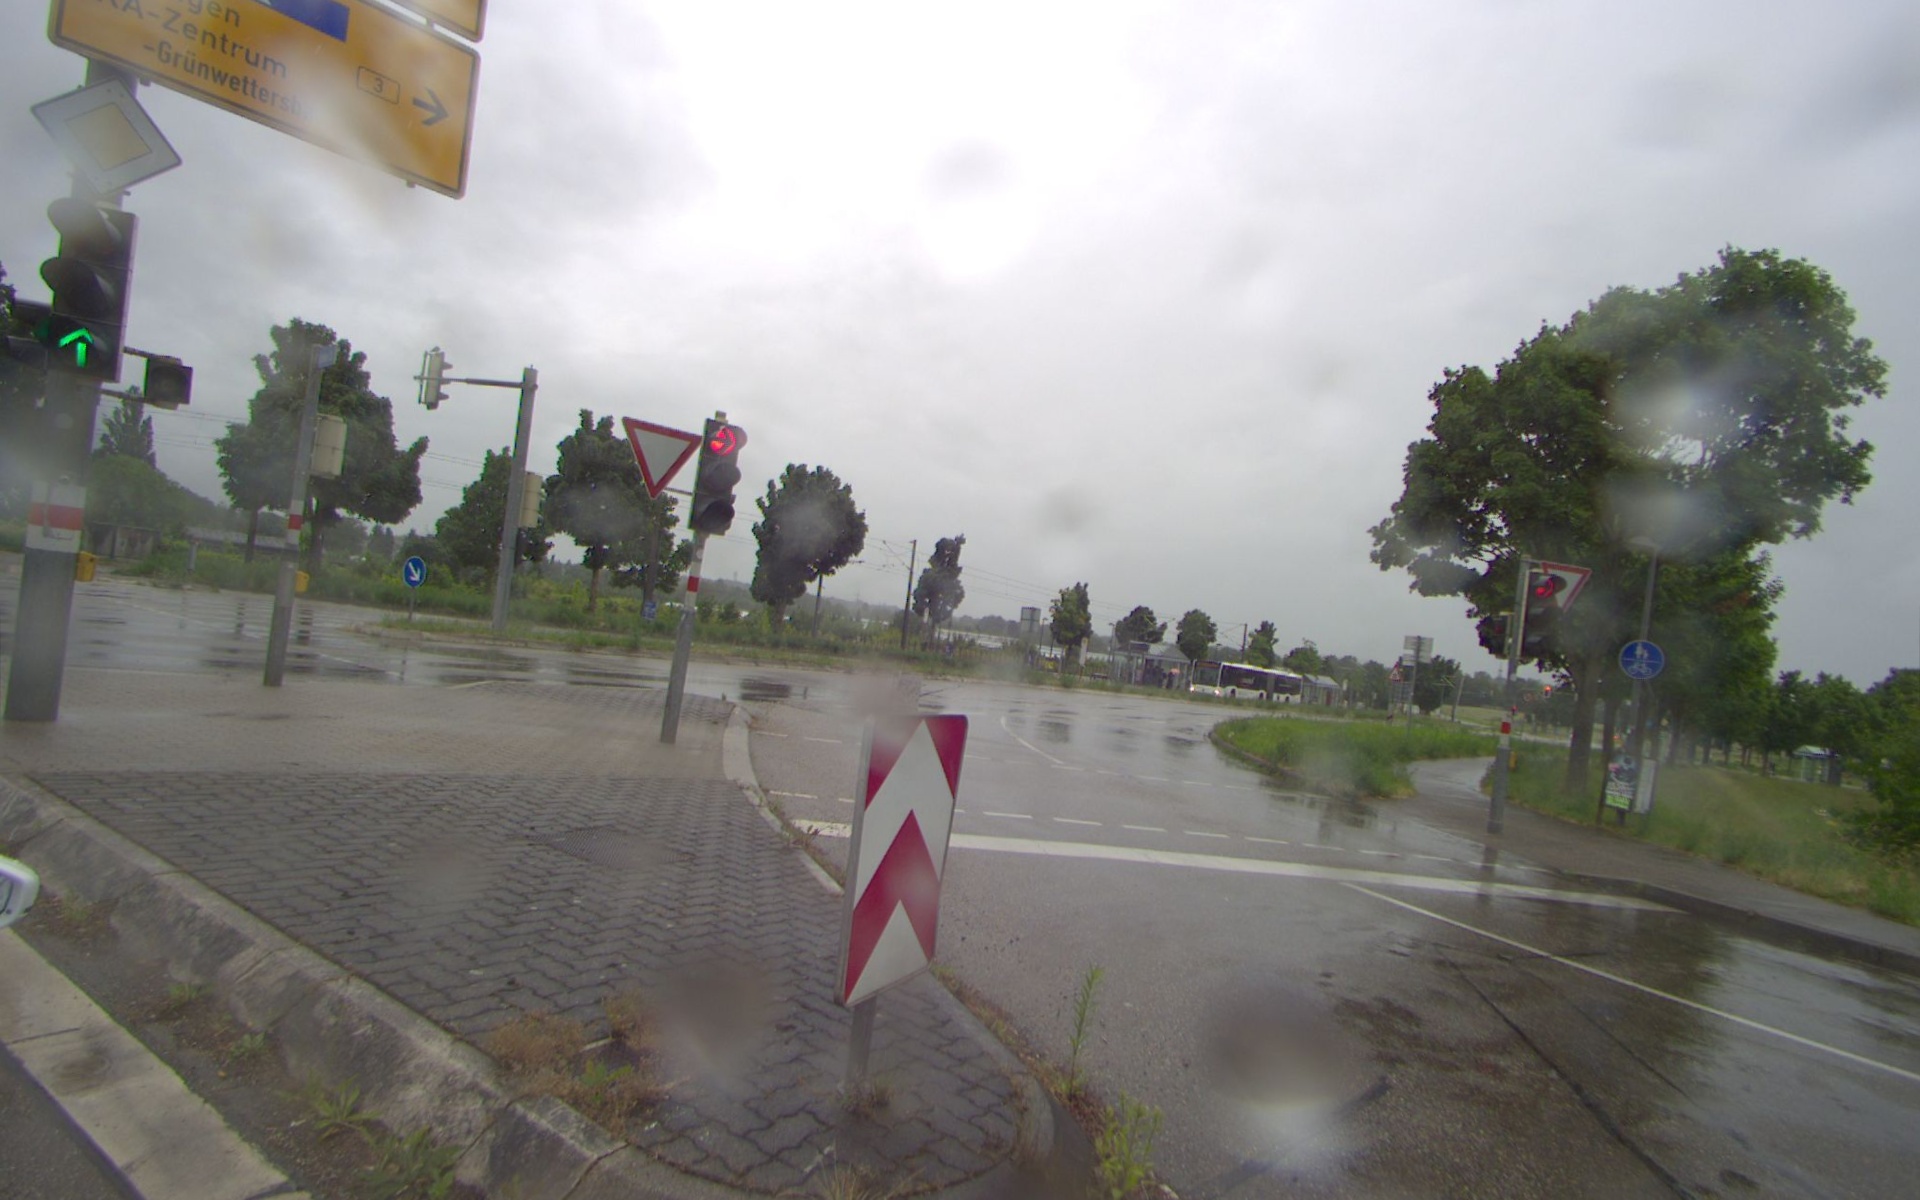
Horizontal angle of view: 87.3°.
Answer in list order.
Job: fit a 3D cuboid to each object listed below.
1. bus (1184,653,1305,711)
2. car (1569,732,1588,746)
[{"bbox_3d":[24.244,7.056,84.237,2.715,3.828,18.380,7,-2,38],"label":"bus"},{"bbox_3d":[80.432,18.061,130.741,1.850,1.370,4.042,7,-1,34],"label":"car"}]
